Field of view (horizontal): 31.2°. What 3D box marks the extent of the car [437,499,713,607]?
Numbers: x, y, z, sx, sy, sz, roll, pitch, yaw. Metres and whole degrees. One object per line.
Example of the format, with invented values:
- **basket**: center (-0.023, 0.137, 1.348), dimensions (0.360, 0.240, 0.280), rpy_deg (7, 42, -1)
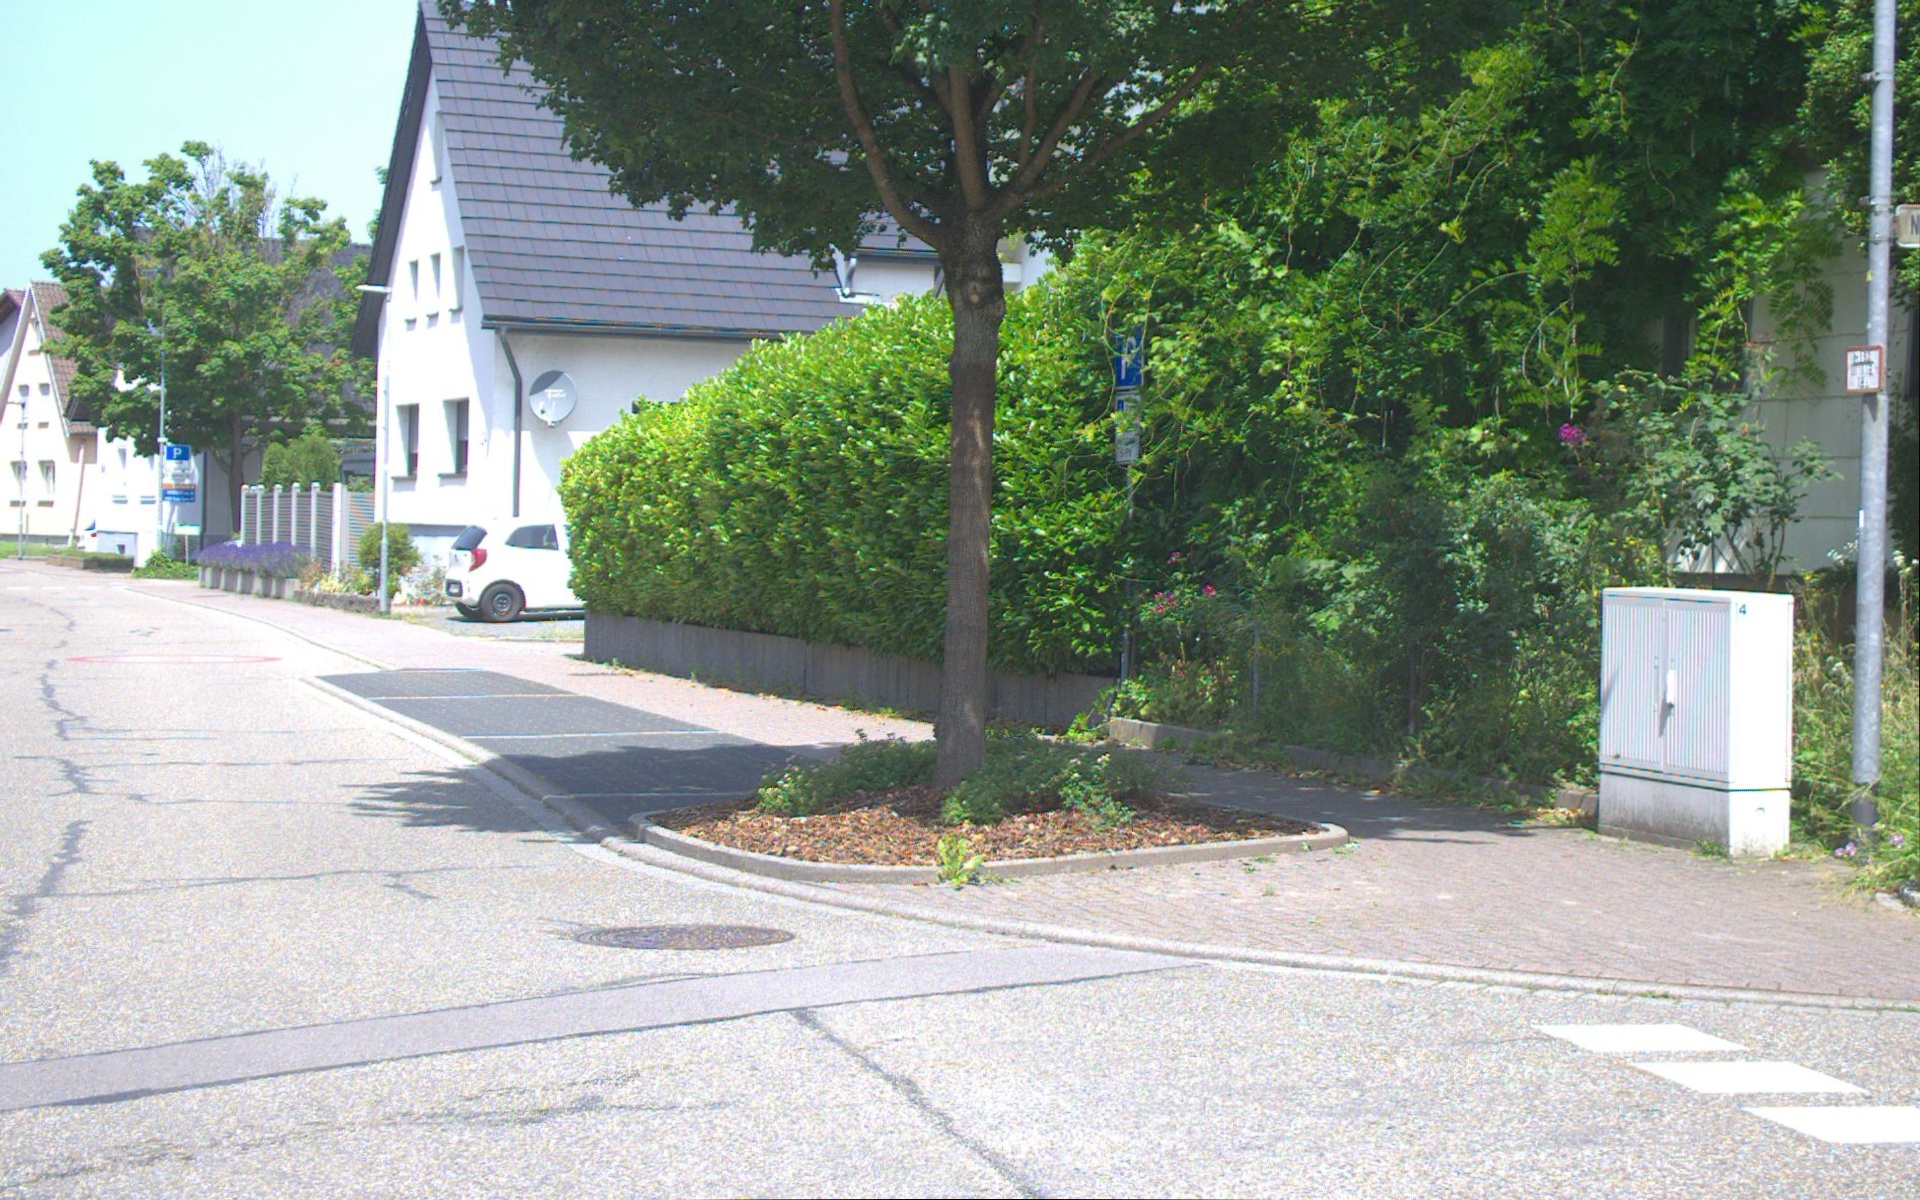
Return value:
- **car**: center (-5.641, -0.714, 50.323), dimensions (3.656, 1.469, 1.766), rpy_deg (-1, 3, -23)
